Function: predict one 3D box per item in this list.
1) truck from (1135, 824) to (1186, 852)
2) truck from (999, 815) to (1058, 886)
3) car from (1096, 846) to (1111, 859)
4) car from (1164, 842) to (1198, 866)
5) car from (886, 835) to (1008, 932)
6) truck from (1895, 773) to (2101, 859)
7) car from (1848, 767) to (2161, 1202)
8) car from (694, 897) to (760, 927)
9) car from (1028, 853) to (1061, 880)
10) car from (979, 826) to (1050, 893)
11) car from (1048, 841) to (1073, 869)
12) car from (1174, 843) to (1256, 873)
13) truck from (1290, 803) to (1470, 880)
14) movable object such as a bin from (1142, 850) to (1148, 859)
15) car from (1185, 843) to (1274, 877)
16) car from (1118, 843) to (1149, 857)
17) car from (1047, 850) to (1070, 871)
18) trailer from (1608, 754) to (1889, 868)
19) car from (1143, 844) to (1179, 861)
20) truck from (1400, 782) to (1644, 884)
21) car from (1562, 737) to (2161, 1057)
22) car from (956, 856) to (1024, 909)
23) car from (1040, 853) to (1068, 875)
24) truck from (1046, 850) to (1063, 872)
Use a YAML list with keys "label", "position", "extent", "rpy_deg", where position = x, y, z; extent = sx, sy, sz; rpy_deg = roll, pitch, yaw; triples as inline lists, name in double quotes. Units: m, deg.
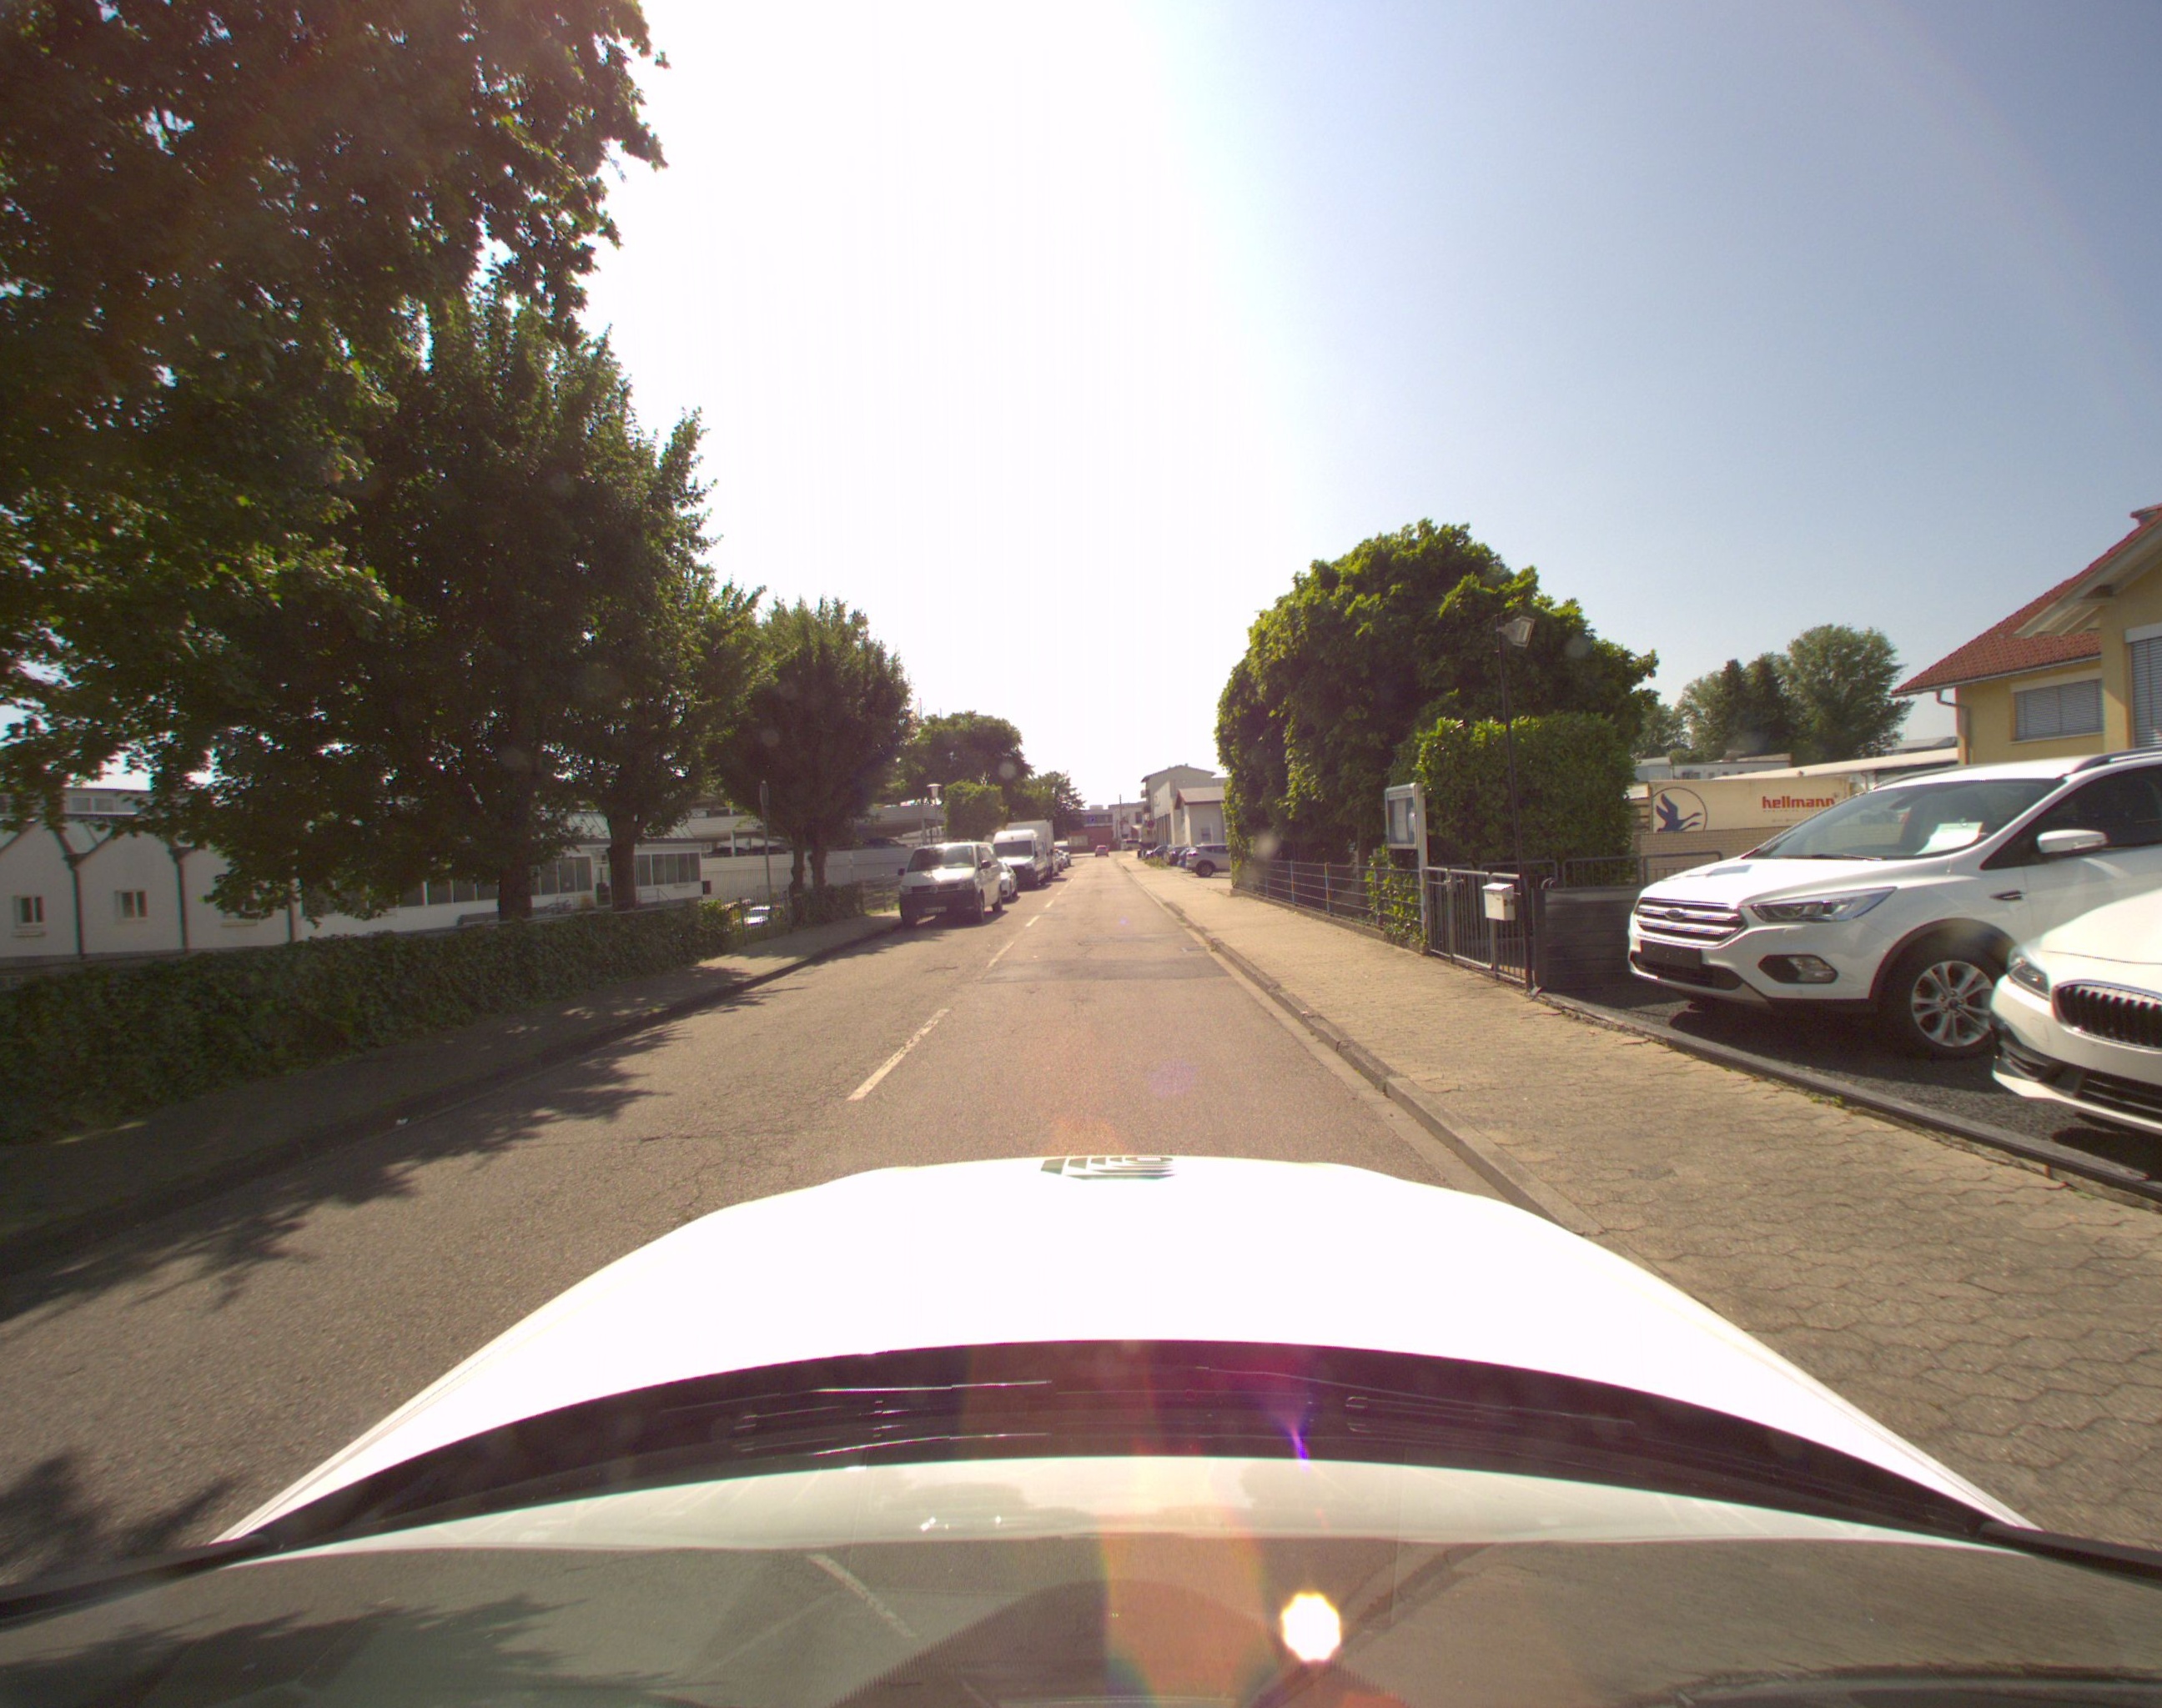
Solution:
- label: "truck"
  position: [12.449, -2.508, 128.455]
  extent: [7.348, 3.644, 2.763]
  rpy_deg: [-6, 1, -5]
- label: "truck"
  position: [-2.720, -0.141, 44.354]
  extent: [2.678, 3.366, 7.125]
  rpy_deg: [-4, 0, -1]
- label: "car"
  position: [3.008, -0.203, 109.516]
  extent: [1.884, 1.685, 3.958]
  rpy_deg: [0, 0, 1]
- label: "car"
  position: [7.298, -0.003, 59.871]
  extent: [1.852, 1.567, 4.952]
  rpy_deg: [-3, 1, 1]
- label: "car"
  position: [-3.237, 0.664, 20.789]
  extent: [1.964, 2.013, 5.058]
  rpy_deg: [-5, 0, 2]
- label: "truck"
  position: [41.052, -1.643, 36.651]
  extent: [5.657, 3.362, 2.930]
  rpy_deg: [-3, 0, 4]
- label: "car"
  position: [5.925, 0.273, 2.999]
  extent: [4.391, 1.527, 1.896]
  rpy_deg: [-5, -1, -2]
- label: "car"
  position: [-21.769, 3.525, 50.263]
  extent: [1.984, 1.442, 4.006]
  rpy_deg: [-3, 0, 5]
- label: "car"
  position: [-2.299, 0.776, 51.819]
  extent: [1.735, 1.521, 4.311]
  rpy_deg: [-3, 0, 1]
- label: "car"
  position: [-2.842, 0.230, 36.805]
  extent: [2.160, 2.595, 6.924]
  rpy_deg: [-4, 0, 3]
- label: "car"
  position: [-1.898, 0.083, 75.705]
  extent: [1.999, 2.366, 5.228]
  rpy_deg: [-6, 1, 0]
- label: "car"
  position: [7.617, 0.242, 46.673]
  extent: [4.338, 1.441, 1.892]
  rpy_deg: [-3, 0, 0]
- label: "truck"
  position: [13.747, -0.571, 37.811]
  extent: [7.490, 3.423, 2.528]
  rpy_deg: [0, 0, 1]
- label: "movable object such as a bin"
  position: [6.708, 0.057, 85.338]
  extent: [0.510, 0.946, 0.489]
  rpy_deg: [-4, 0, 13]
- label: "car"
  position: [7.362, 0.297, 40.618]
  extent: [4.187, 1.682, 1.767]
  rpy_deg: [0, 0, 0]
- label: "car"
  position: [8.813, -0.730, 136.745]
  extent: [4.667, 1.957, 1.904]
  rpy_deg: [-5, -1, -18]
- label: "car"
  position: [-1.983, 0.528, 70.529]
  extent: [1.701, 1.624, 3.969]
  rpy_deg: [-5, 0, -3]
- label: "trailer"
  position: [26.461, -1.636, 32.697]
  extent: [8.291, 3.863, 3.073]
  rpy_deg: [-3, 0, 6]
- label: "car"
  position: [7.611, -0.168, 77.312]
  extent: [3.241, 1.398, 1.674]
  rpy_deg: [-3, 0, 1]
- label: "truck"
  position: [17.880, -0.811, 33.475]
  extent: [8.239, 3.611, 2.956]
  rpy_deg: [-3, 0, 4]
- label: "car"
  position: [5.992, 0.177, 5.482]
  extent: [4.390, 1.653, 1.842]
  rpy_deg: [-3, 0, -2]
- label: "car"
  position: [-3.045, 0.914, 27.986]
  extent: [1.708, 1.543, 4.400]
  rpy_deg: [-5, 0, 0]
- label: "car"
  position: [-2.006, 0.711, 61.135]
  extent: [1.698, 1.463, 4.116]
  rpy_deg: [-5, 0, 2]
- label: "truck"
  position: [-2.154, 0.573, 66.921]
  extent: [1.135, 1.622, 3.140]
  rpy_deg: [-5, 0, -1]
